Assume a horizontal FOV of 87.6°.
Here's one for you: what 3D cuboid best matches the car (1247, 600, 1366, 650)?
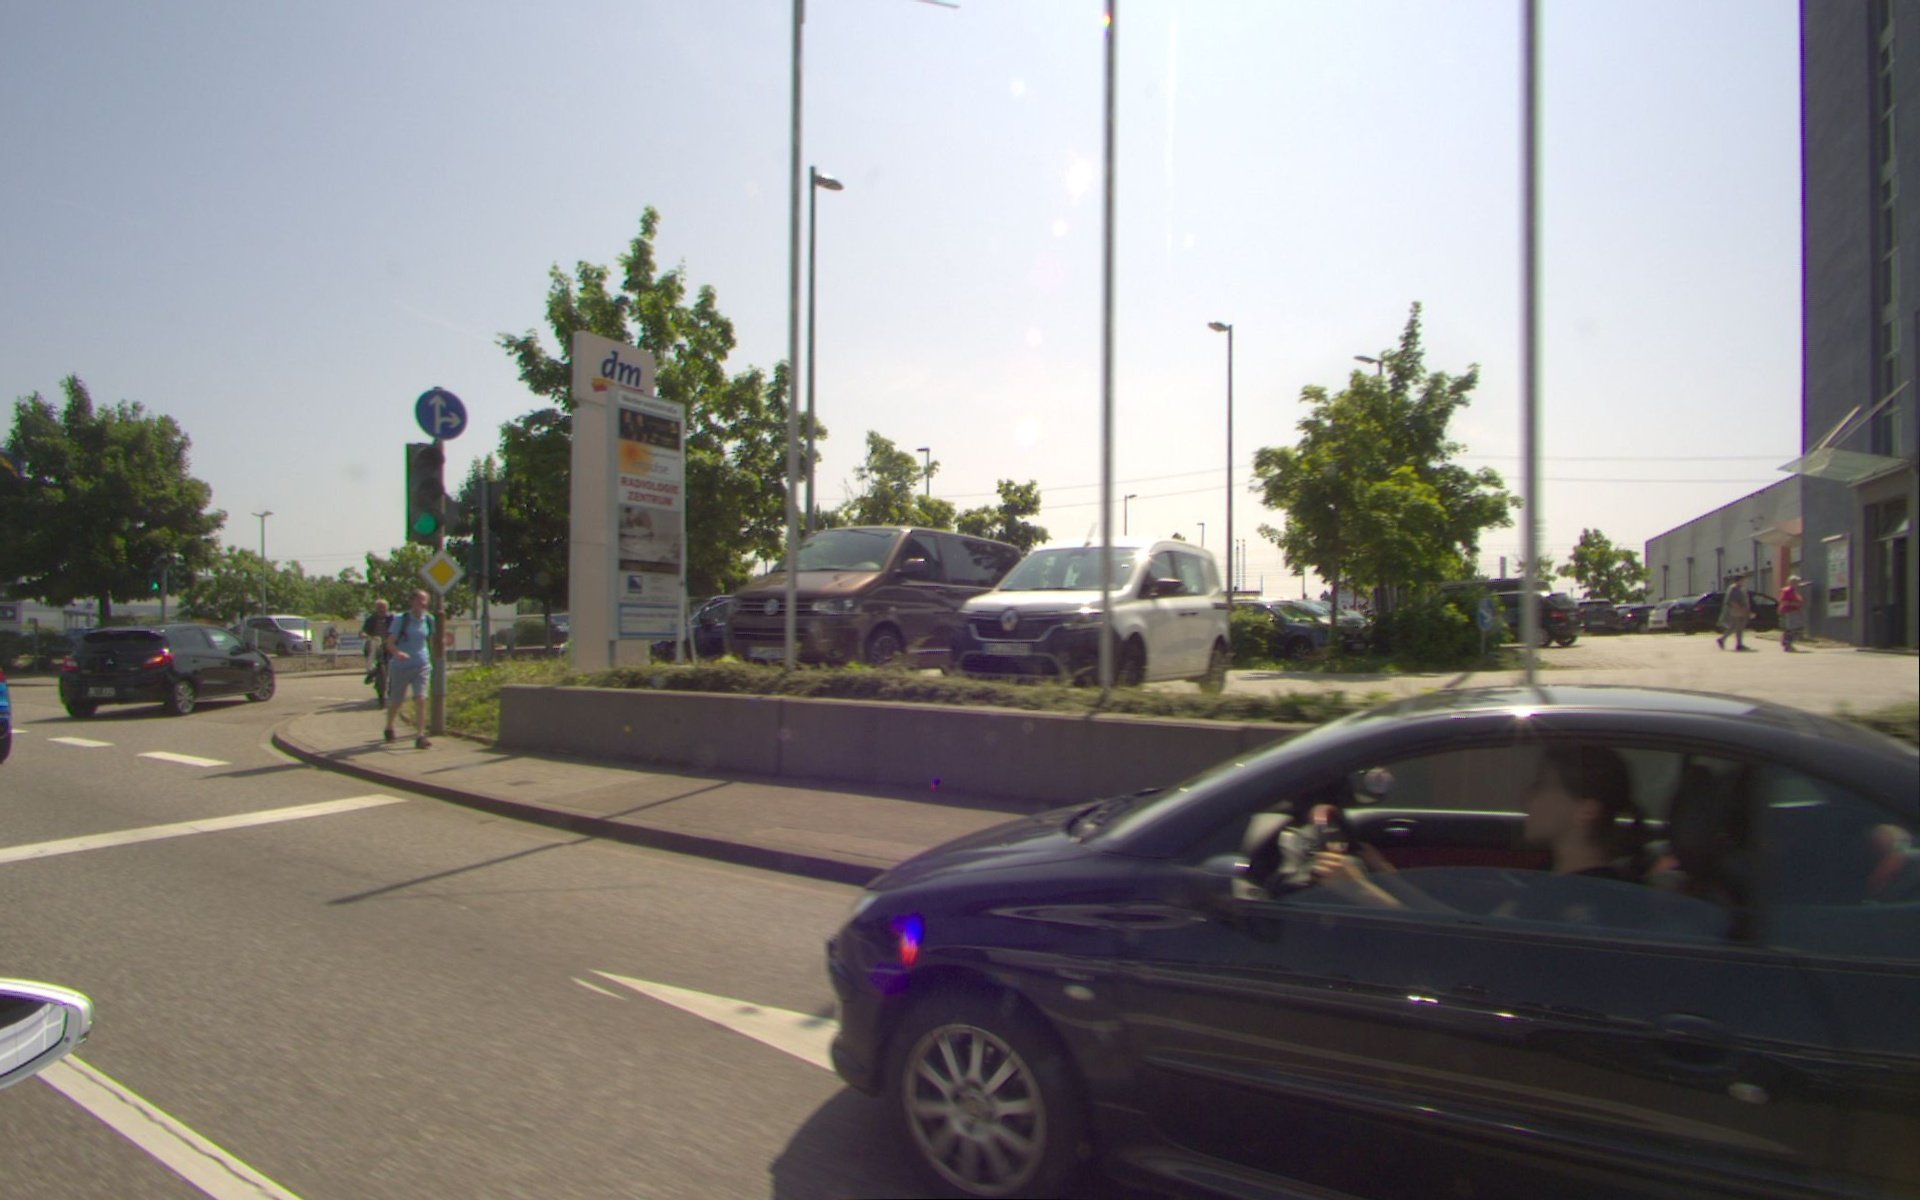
[{"bbox_3d":[13.467,0.958,39.144,1.653,1.811,4.161,3,-2,-37],"label":"car"}]

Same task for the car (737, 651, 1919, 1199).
[{"bbox_3d":[1.265,0.868,2.652,3.448,1.374,1.634,-1,0,31],"label":"car"}]

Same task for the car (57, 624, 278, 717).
[{"bbox_3d":[-13.442,1.130,17.240,1.591,1.419,3.429,0,-1,-11],"label":"car"}]

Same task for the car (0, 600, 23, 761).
[{"bbox_3d":[-11.839,0.833,10.639,4.289,1.613,1.805,-1,-1,33],"label":"car"}]

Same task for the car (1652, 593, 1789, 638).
[{"bbox_3d":[28.262,0.608,37.293,3.952,1.572,1.986,-1,-2,39],"label":"car"}]

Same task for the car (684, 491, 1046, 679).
[{"bbox_3d":[-0.911,0.021,12.525,2.151,1.819,4.693,-1,-5,30],"label":"car"}]

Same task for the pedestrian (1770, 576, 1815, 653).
[{"bbox_3d":[17.791,0.320,21.397,0.765,1.595,0.636,0,-1,-43],"label":"pedestrian"}]

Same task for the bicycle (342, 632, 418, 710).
[{"bbox_3d":[-9.204,1.111,15.859,0.751,1.147,1.893,2,-4,-39],"label":"bicycle"}]

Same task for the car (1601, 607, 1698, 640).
[{"bbox_3d":[34.803,1.192,50.564,3.951,1.616,1.986,-1,-2,38],"label":"car"}]

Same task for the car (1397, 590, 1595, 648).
[{"bbox_3d":[15.700,0.578,29.550,1.979,1.572,4.802,1,-2,-42],"label":"car"}]

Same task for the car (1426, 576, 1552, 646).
[{"bbox_3d":[17.888,0.398,33.989,1.650,2.221,3.411,0,-1,-32],"label":"car"}]

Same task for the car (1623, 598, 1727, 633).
[{"bbox_3d":[34.020,0.770,47.694,3.951,1.616,1.986,-1,-2,38],"label":"car"}]

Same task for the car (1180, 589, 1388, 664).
[{"bbox_3d":[7.148,0.567,22.292,1.981,1.505,3.960,0,-1,-45],"label":"car"}]

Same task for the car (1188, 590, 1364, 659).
[{"bbox_3d":[8.006,0.645,25.720,1.651,1.620,4.166,0,-2,-34],"label":"car"}]

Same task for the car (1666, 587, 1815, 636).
[{"bbox_3d":[26.735,0.427,34.424,3.952,1.572,1.986,-1,-2,39],"label":"car"}]

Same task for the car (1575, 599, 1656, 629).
[{"bbox_3d":[35.992,0.787,55.109,1.961,1.616,4.001,0,-1,2],"label":"car"}]

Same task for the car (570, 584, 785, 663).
[{"bbox_3d":[-5.303,0.463,19.328,1.833,1.356,3.988,-1,-2,25],"label":"car"}]

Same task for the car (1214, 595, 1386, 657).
[{"bbox_3d":[10.382,0.873,30.881,1.979,1.733,4.708,3,-4,-40],"label":"car"}]

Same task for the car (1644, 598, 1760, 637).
[{"bbox_3d":[32.283,0.766,43.630,3.951,1.616,1.986,-1,-2,38],"label":"car"}]

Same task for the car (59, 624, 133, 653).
[{"bbox_3d":[-44.881,1.977,51.991,3.657,1.412,1.621,-1,-1,26],"label":"car"}]

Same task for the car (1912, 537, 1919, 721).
[{"bbox_3d":[8.458,0.111,6.488,2.064,1.629,4.465,-2,-4,27],"label":"car"}]

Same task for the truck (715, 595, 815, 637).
[{"bbox_3d":[-18.683,1.575,95.707,9.878,3.888,2.848,-1,0,28],"label":"truck"}]

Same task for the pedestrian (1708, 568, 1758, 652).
[{"bbox_3d":[17.672,0.242,22.898,0.847,1.862,0.783,0,-1,-44],"label":"pedestrian"}]

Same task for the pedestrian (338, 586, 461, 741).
[{"bbox_3d":[-6.283,0.716,11.239,0.991,1.645,0.827,-3,-3,31],"label":"pedestrian"}]

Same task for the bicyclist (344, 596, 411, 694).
[{"bbox_3d":[-9.242,0.720,15.889,0.768,1.482,1.083,2,-3,-37],"label":"bicyclist"}]

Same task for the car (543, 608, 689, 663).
[{"bbox_3d":[-10.873,1.095,31.934,1.781,1.639,4.241,-1,-1,31],"label":"car"}]

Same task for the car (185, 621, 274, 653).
[{"bbox_3d":[-34.230,1.719,46.912,4.016,1.412,1.734,-2,-1,26],"label":"car"}]

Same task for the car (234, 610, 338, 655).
[{"bbox_3d":[-23.333,1.101,34.660,3.477,1.458,1.419,0,1,26],"label":"car"}]

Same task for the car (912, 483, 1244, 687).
[{"bbox_3d":[1.523,0.068,11.000,1.972,1.719,4.408,-2,-6,31],"label":"car"}]
